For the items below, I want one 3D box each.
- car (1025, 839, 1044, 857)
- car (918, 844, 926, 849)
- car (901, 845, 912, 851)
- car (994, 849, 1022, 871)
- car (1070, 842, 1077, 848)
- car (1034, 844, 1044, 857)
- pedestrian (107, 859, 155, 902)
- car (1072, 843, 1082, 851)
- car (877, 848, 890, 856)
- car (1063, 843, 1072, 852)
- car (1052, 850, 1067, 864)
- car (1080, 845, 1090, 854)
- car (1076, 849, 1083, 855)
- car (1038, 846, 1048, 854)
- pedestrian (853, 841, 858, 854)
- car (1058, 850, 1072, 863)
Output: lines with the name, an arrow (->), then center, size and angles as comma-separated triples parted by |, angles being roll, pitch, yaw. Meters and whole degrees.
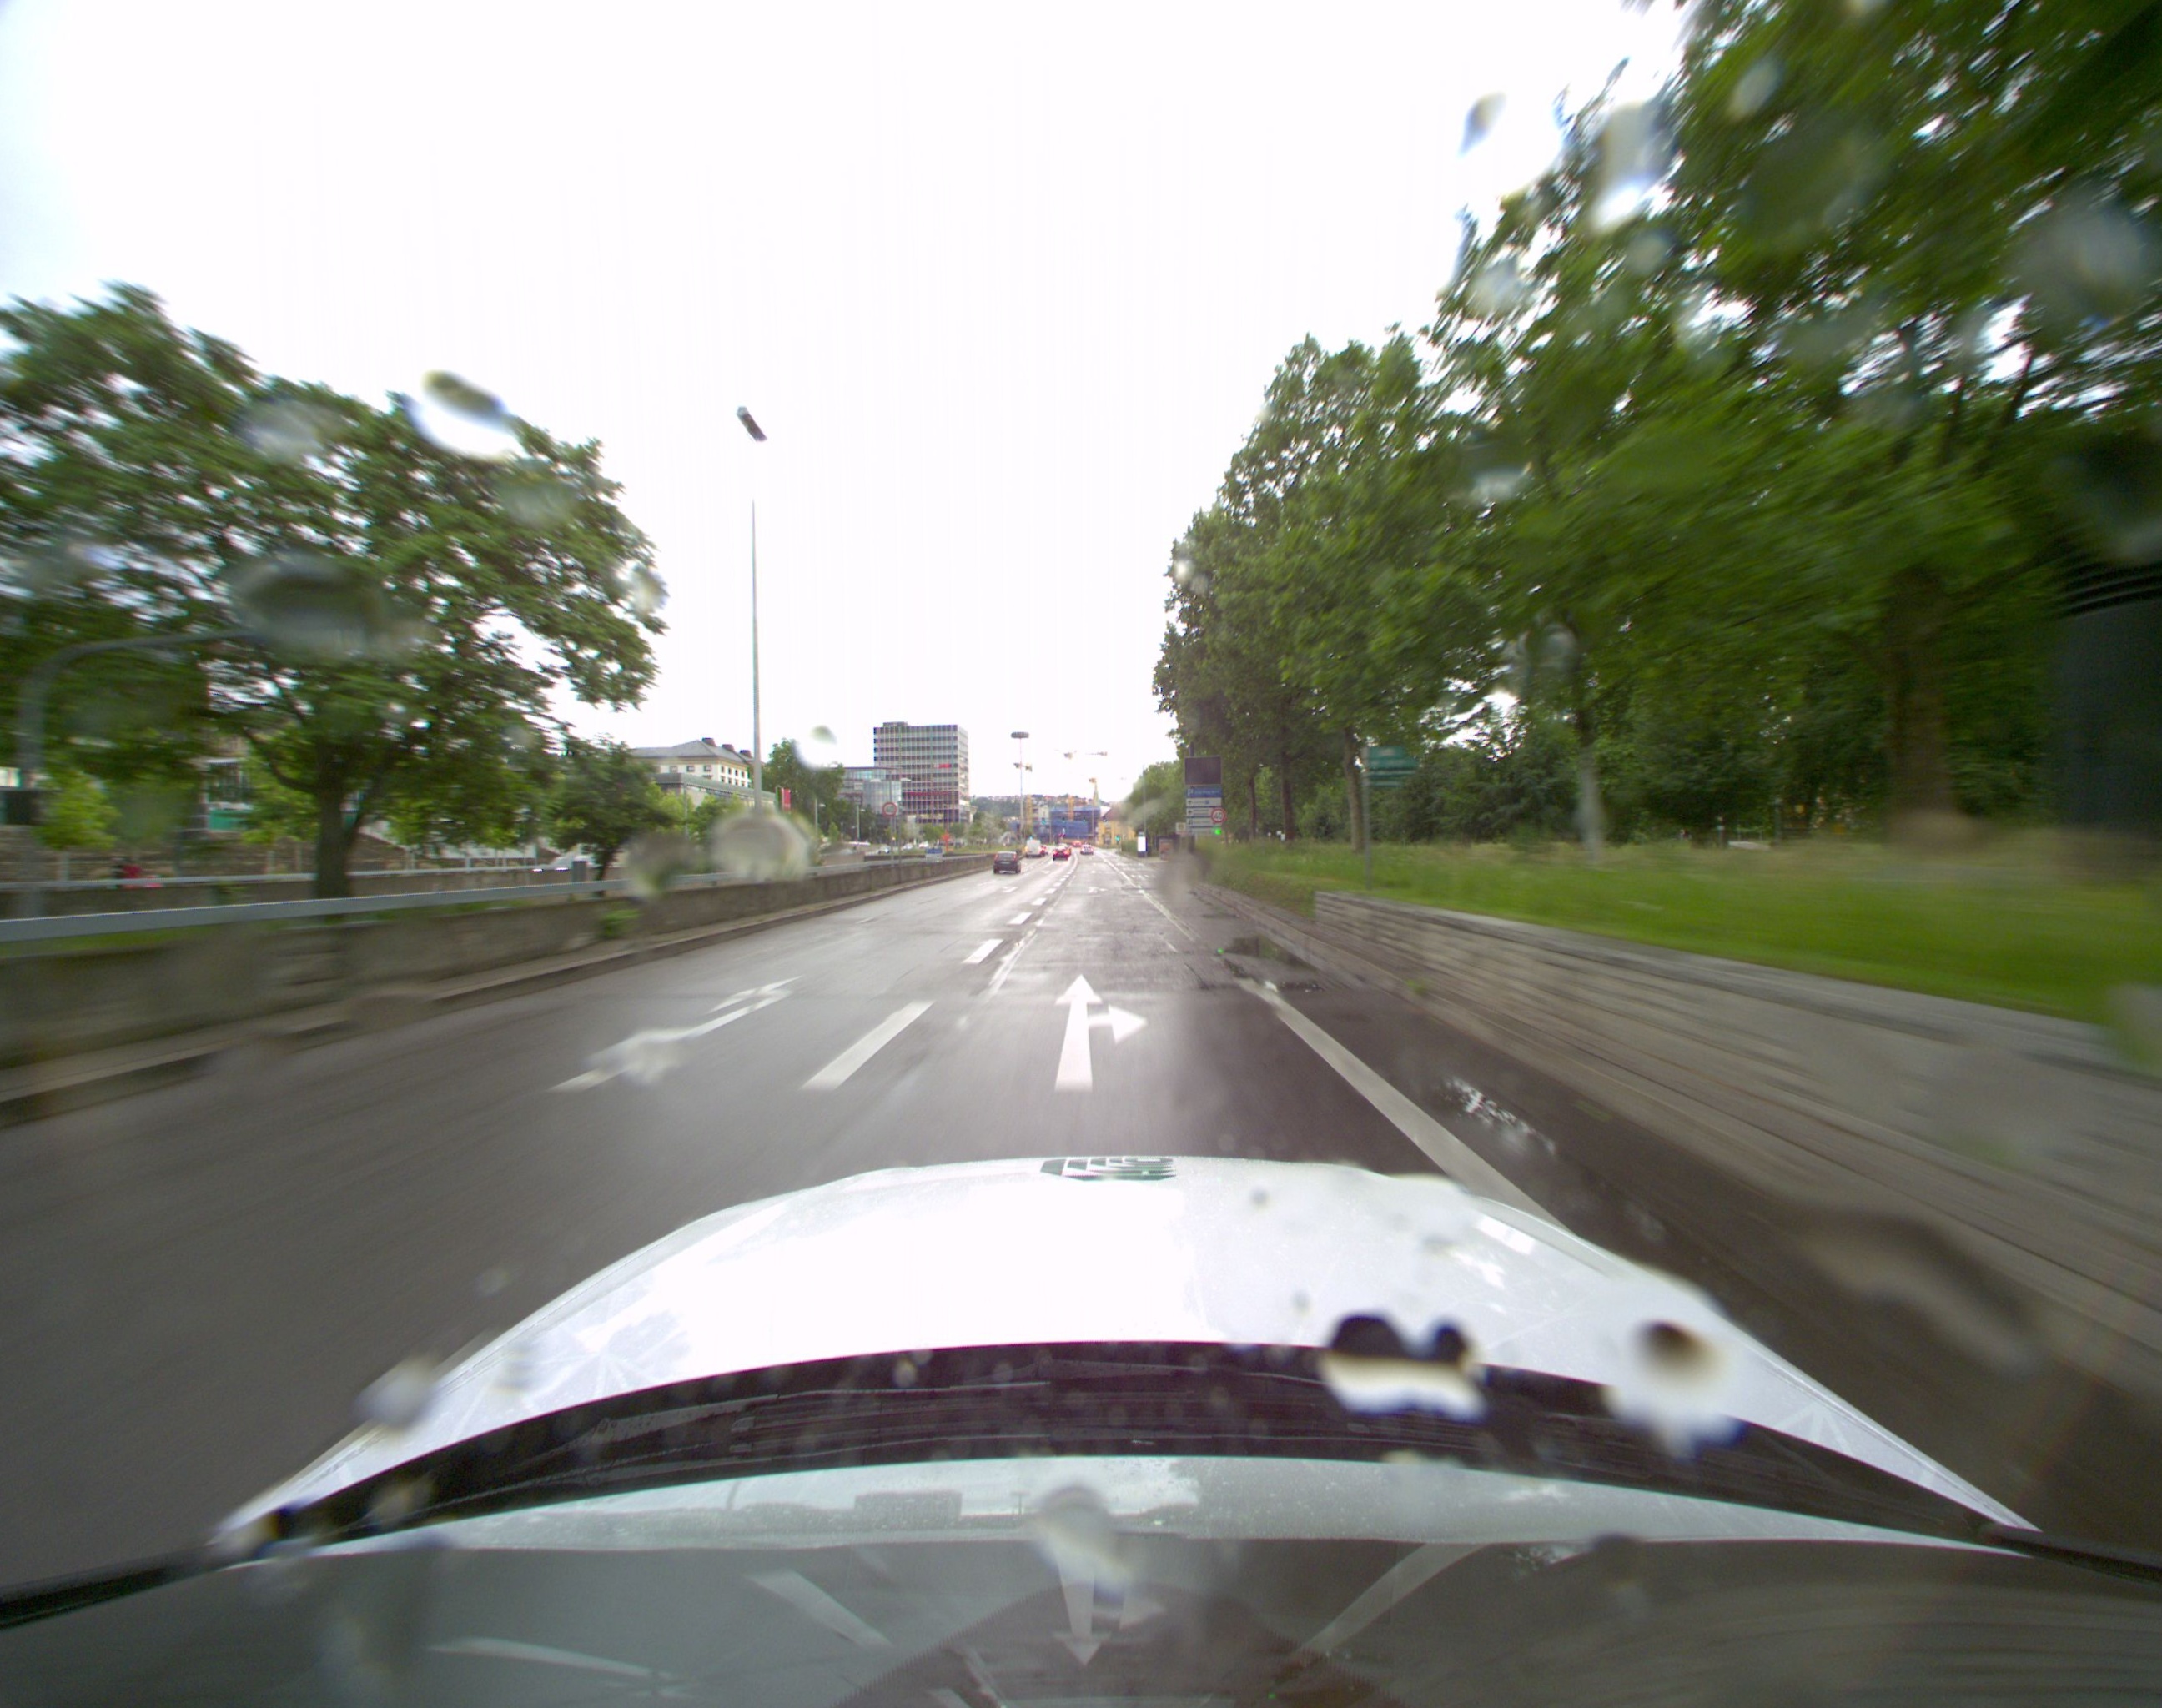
car -> -6.178, -0.728, 108.321 | 2.285, 2.314, 5.005 | 0, 0, 0
car -> -38.453, -1.861, 196.922 | 1.436, 1.114, 3.019 | 0, 0, -1
car -> -37.785, -1.225, 176.294 | 1.402, 1.255, 3.168 | 0, 0, 2
car -> -4.851, 0.400, 54.538 | 1.538, 1.415, 3.900 | 0, 0, -1
car -> -1.850, -2.274, 205.866 | 1.473, 1.360, 3.138 | 0, 0, 3
car -> -5.889, -0.460, 114.903 | 1.461, 1.706, 3.138 | 0, 0, -3
pedestrian -> -41.922, 1.147, 35.936 | 1.082, 1.866, 0.829 | 0, -1, -1
car -> -0.842, -1.616, 193.622 | 2.153, 1.879, 3.773 | 0, 0, 2
car -> -33.873, -0.304, 139.566 | 1.460, 1.440, 2.962 | 0, 0, -1
car -> -2.077, -0.988, 125.155 | 1.489, 1.369, 3.032 | 0, 0, -1
car -> -2.569, 0.345, 97.669 | 1.749, 1.471, 4.220 | 0, 1, -2
car -> 0.656, -0.649, 126.054 | 1.438, 1.359, 2.413 | 0, 0, 2
car -> -0.234, -0.326, 132.484 | 1.072, 0.990, 1.973 | 0, -1, 2
car -> -5.805, -0.617, 124.346 | 1.546, 1.260, 2.579 | 0, 0, -1
pedestrian -> -40.405, -1.169, 145.691 | 0.723, 2.090, 0.768 | 0, 5, -7
car -> -2.261, 0.351, 112.543 | 1.876, 1.652, 3.453 | 0, 0, -3
